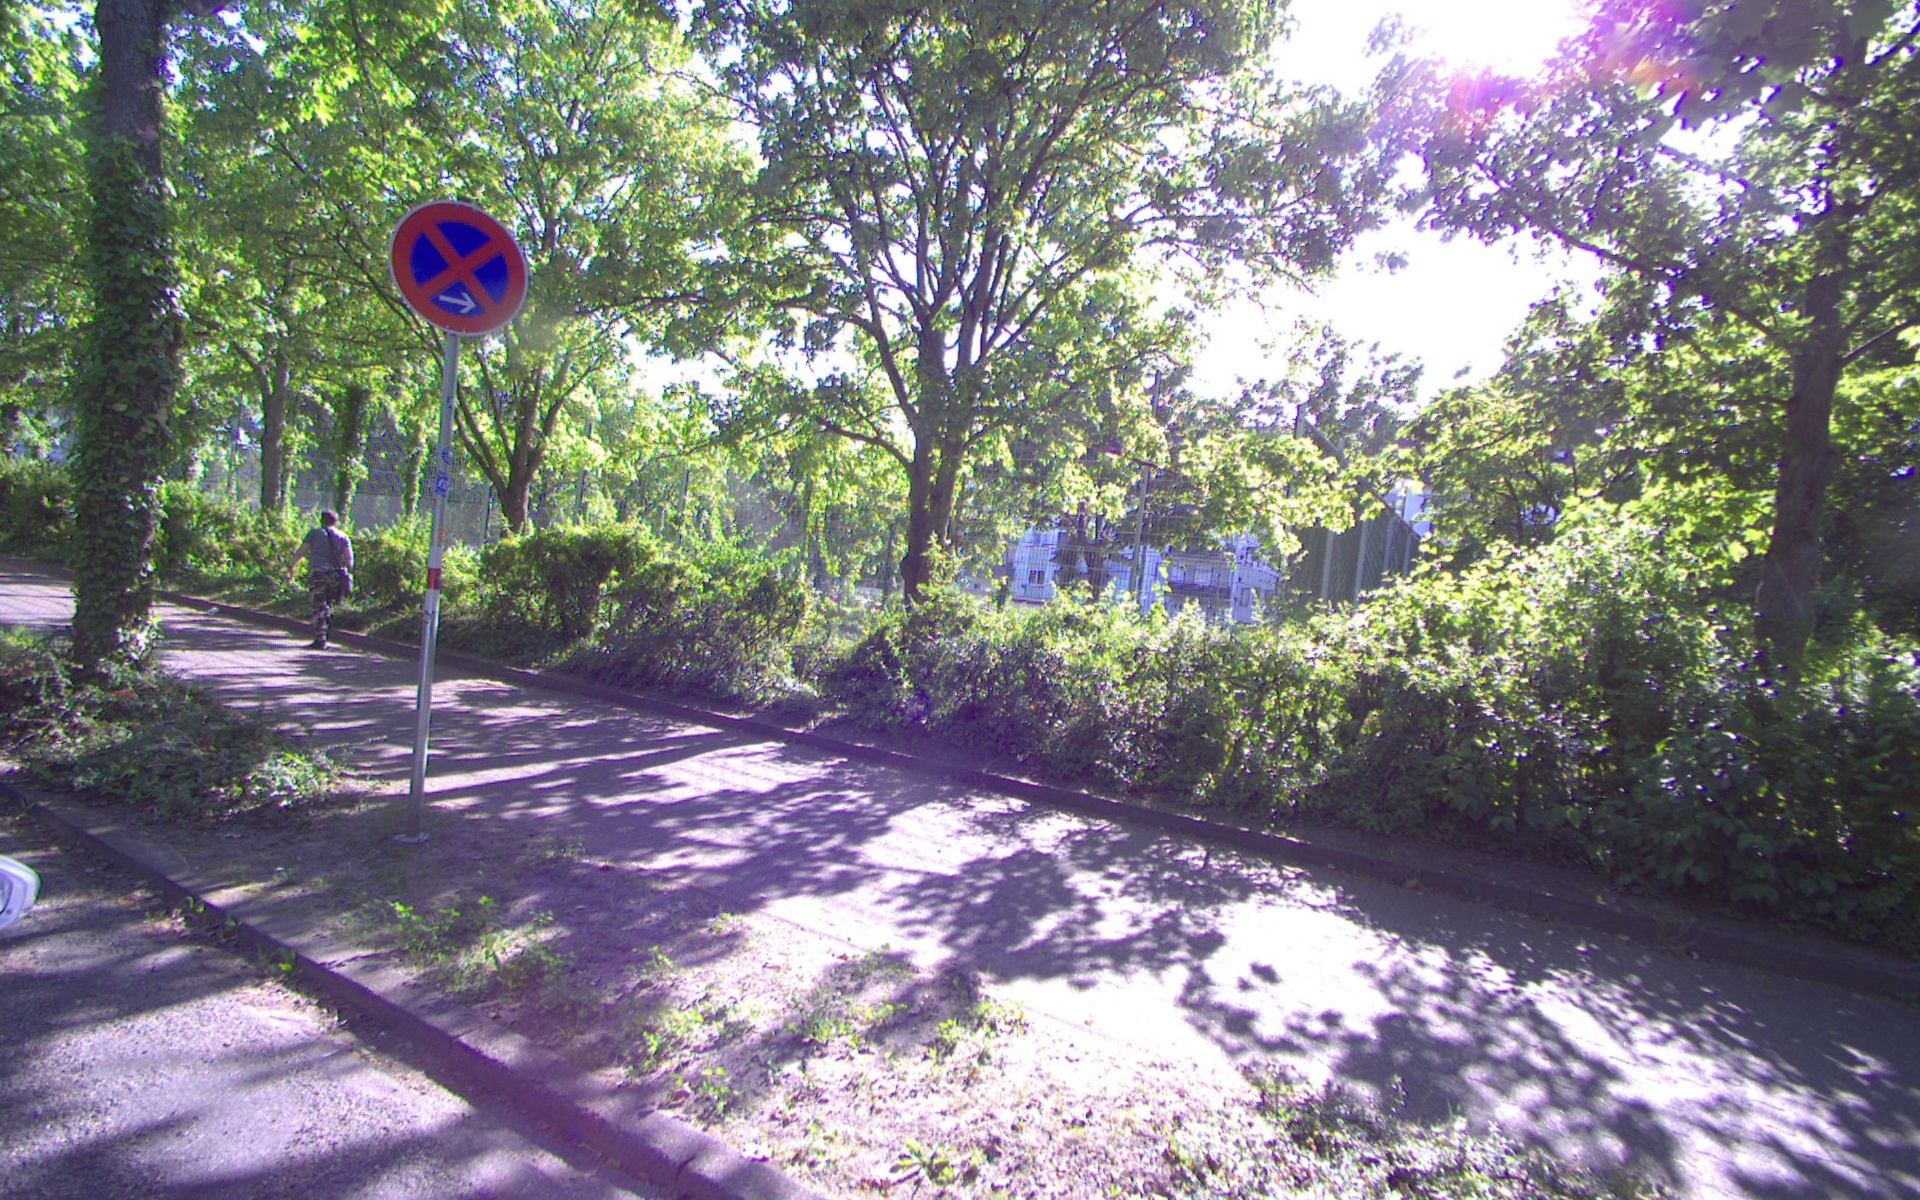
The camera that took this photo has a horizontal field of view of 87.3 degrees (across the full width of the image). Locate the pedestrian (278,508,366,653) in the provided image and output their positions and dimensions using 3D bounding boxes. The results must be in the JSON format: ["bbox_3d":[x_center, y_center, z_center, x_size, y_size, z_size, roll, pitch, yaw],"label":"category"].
[{"bbox_3d":[-7.618,-0.234,12.013,0.662,1.628,0.571,7,0,41],"label":"pedestrian"}]
